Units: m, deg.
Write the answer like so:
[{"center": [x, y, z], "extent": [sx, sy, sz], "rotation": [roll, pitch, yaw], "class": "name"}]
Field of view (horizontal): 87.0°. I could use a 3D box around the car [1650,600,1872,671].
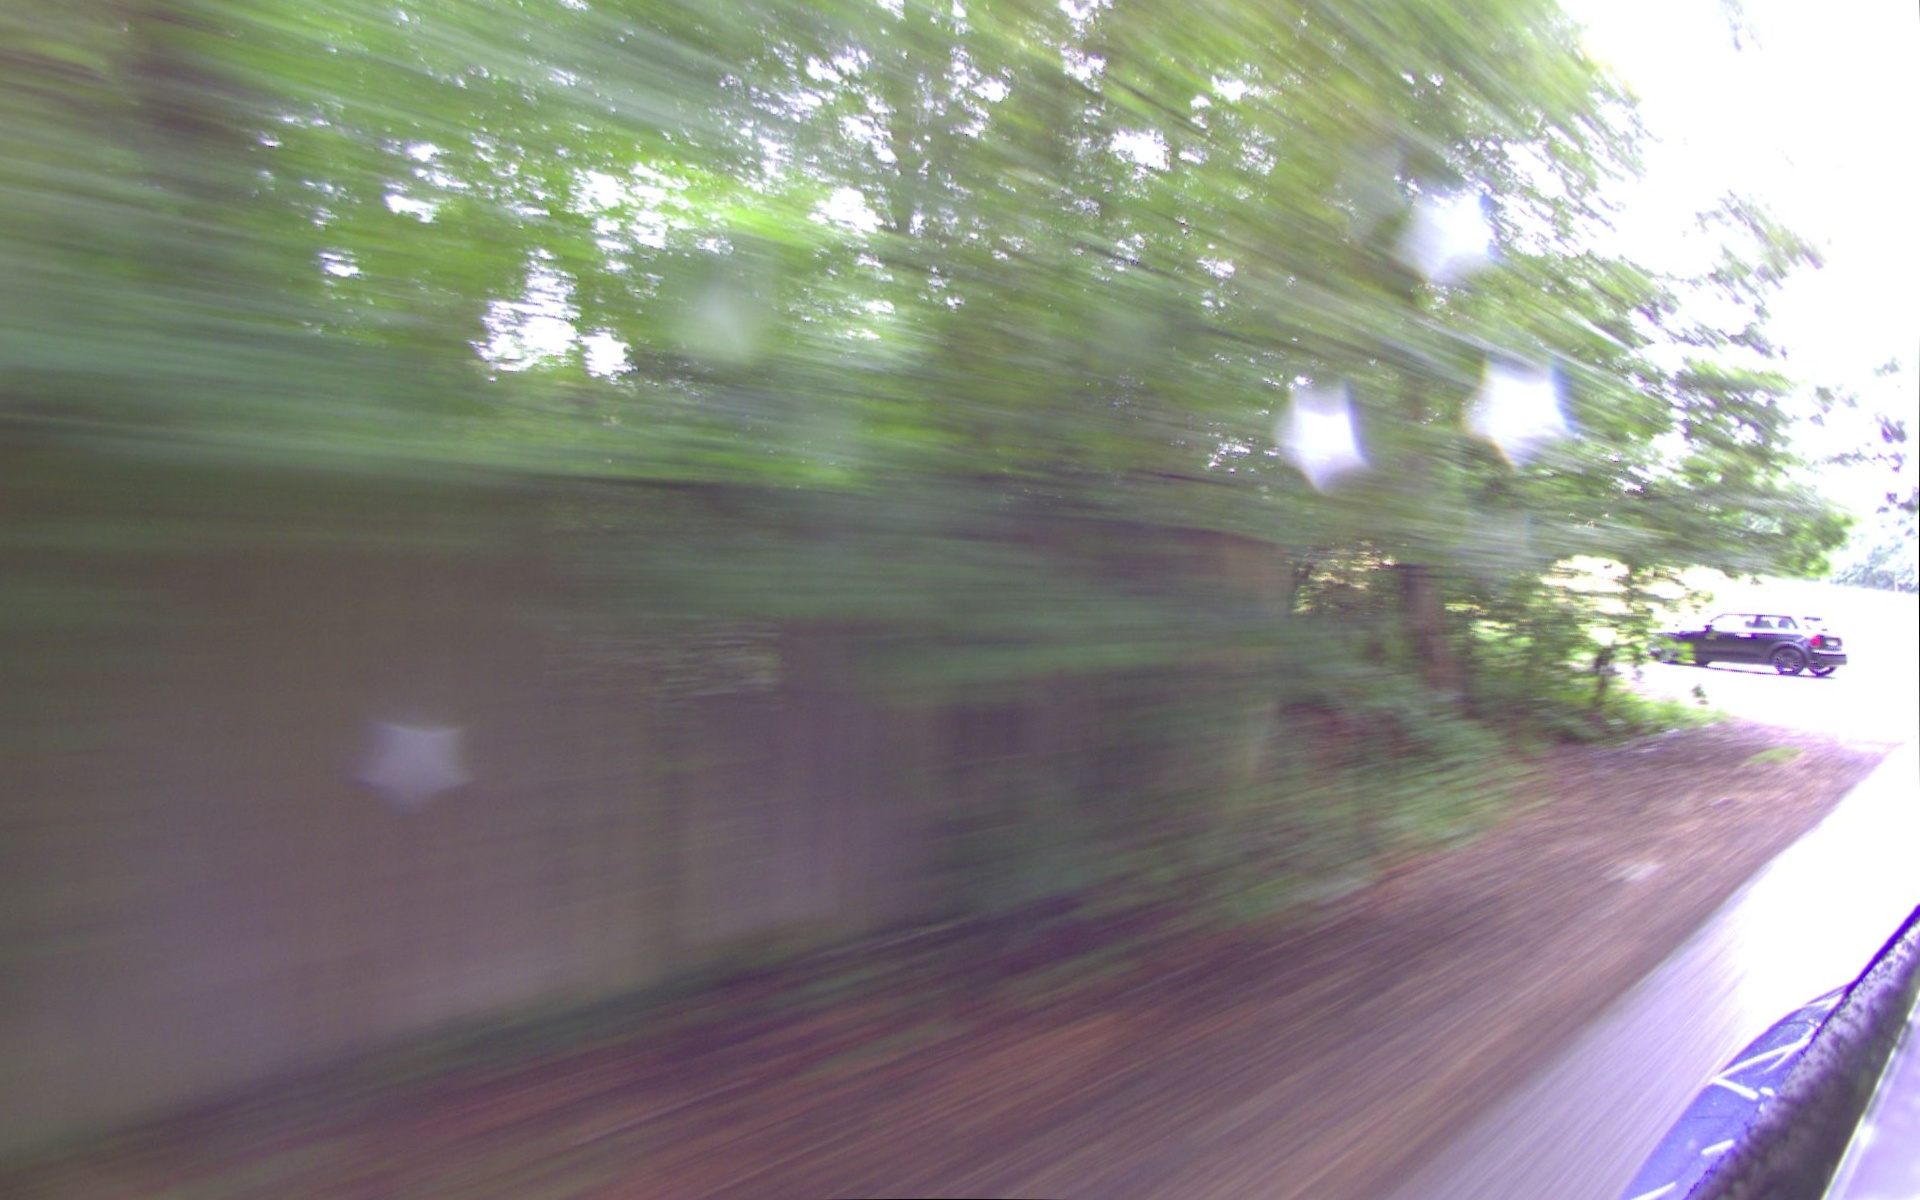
[{"center": [18.717, 0.772, 23.815], "extent": [1.672, 1.454, 3.725], "rotation": [1, 0, -28], "class": "car"}]
